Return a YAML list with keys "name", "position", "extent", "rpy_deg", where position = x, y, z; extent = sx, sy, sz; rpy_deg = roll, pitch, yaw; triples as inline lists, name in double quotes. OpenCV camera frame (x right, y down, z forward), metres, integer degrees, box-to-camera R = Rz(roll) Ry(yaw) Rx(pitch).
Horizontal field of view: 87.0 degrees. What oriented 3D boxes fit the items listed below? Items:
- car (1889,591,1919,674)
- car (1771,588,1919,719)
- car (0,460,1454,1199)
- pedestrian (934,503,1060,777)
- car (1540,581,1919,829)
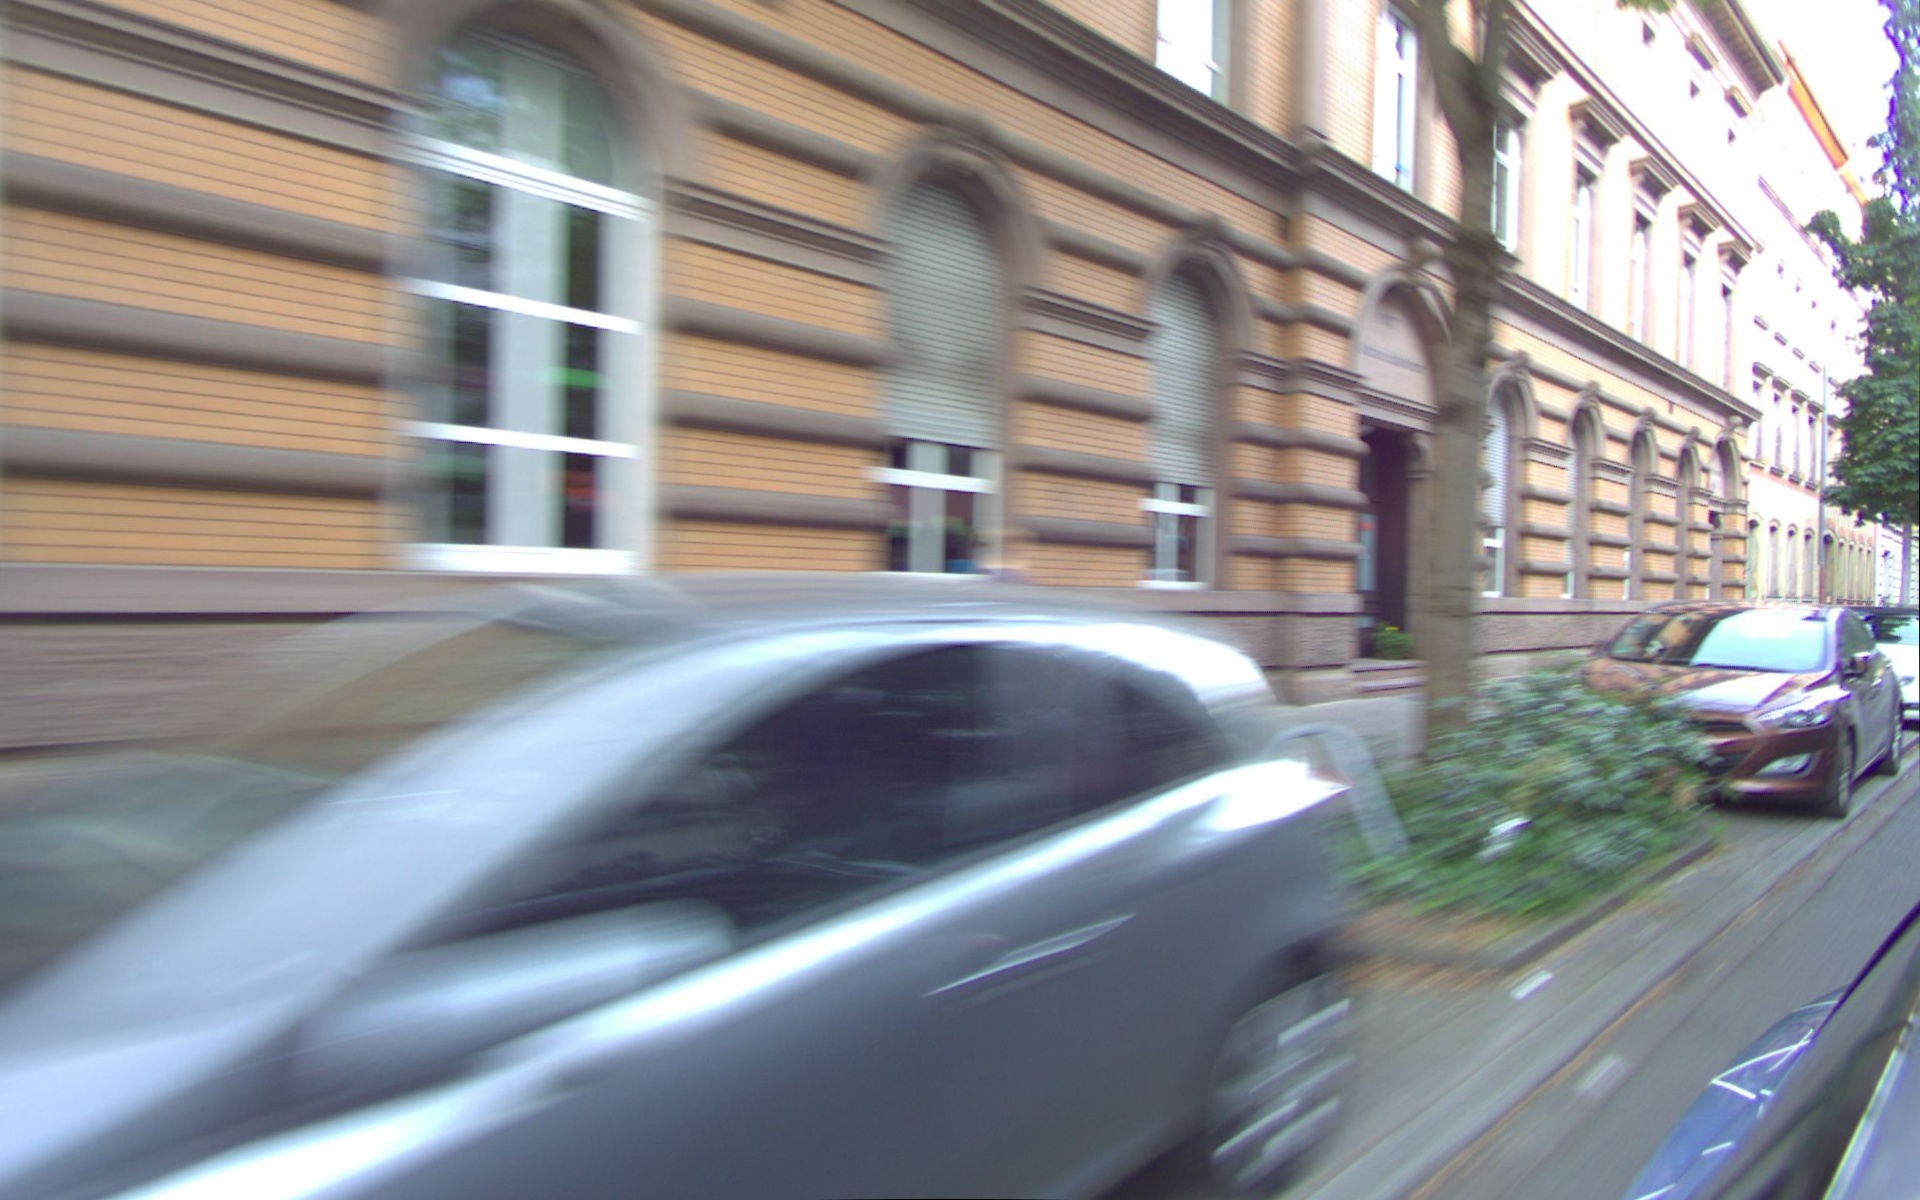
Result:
- name: "car"
  position: [19.140, 0.608, 19.272]
  extent: [4.119, 1.496, 1.714]
  rpy_deg: [0, 1, -42]
- name: "car"
  position: [12.080, 0.603, 13.082]
  extent: [4.565, 1.418, 1.697]
  rpy_deg: [0, 2, -41]
- name: "car"
  position: [-0.688, 0.590, 2.062]
  extent: [3.932, 1.501, 1.700]
  rpy_deg: [0, 3, -43]
- name: "pedestrian"
  position: [0.237, 0.240, 6.567]
  extent: [0.522, 1.669, 0.628]
  rpy_deg: [1, 0, -40]
- name: "car"
  position: [6.427, 0.618, 8.178]
  extent: [4.141, 1.467, 1.725]
  rpy_deg: [0, 2, -41]
